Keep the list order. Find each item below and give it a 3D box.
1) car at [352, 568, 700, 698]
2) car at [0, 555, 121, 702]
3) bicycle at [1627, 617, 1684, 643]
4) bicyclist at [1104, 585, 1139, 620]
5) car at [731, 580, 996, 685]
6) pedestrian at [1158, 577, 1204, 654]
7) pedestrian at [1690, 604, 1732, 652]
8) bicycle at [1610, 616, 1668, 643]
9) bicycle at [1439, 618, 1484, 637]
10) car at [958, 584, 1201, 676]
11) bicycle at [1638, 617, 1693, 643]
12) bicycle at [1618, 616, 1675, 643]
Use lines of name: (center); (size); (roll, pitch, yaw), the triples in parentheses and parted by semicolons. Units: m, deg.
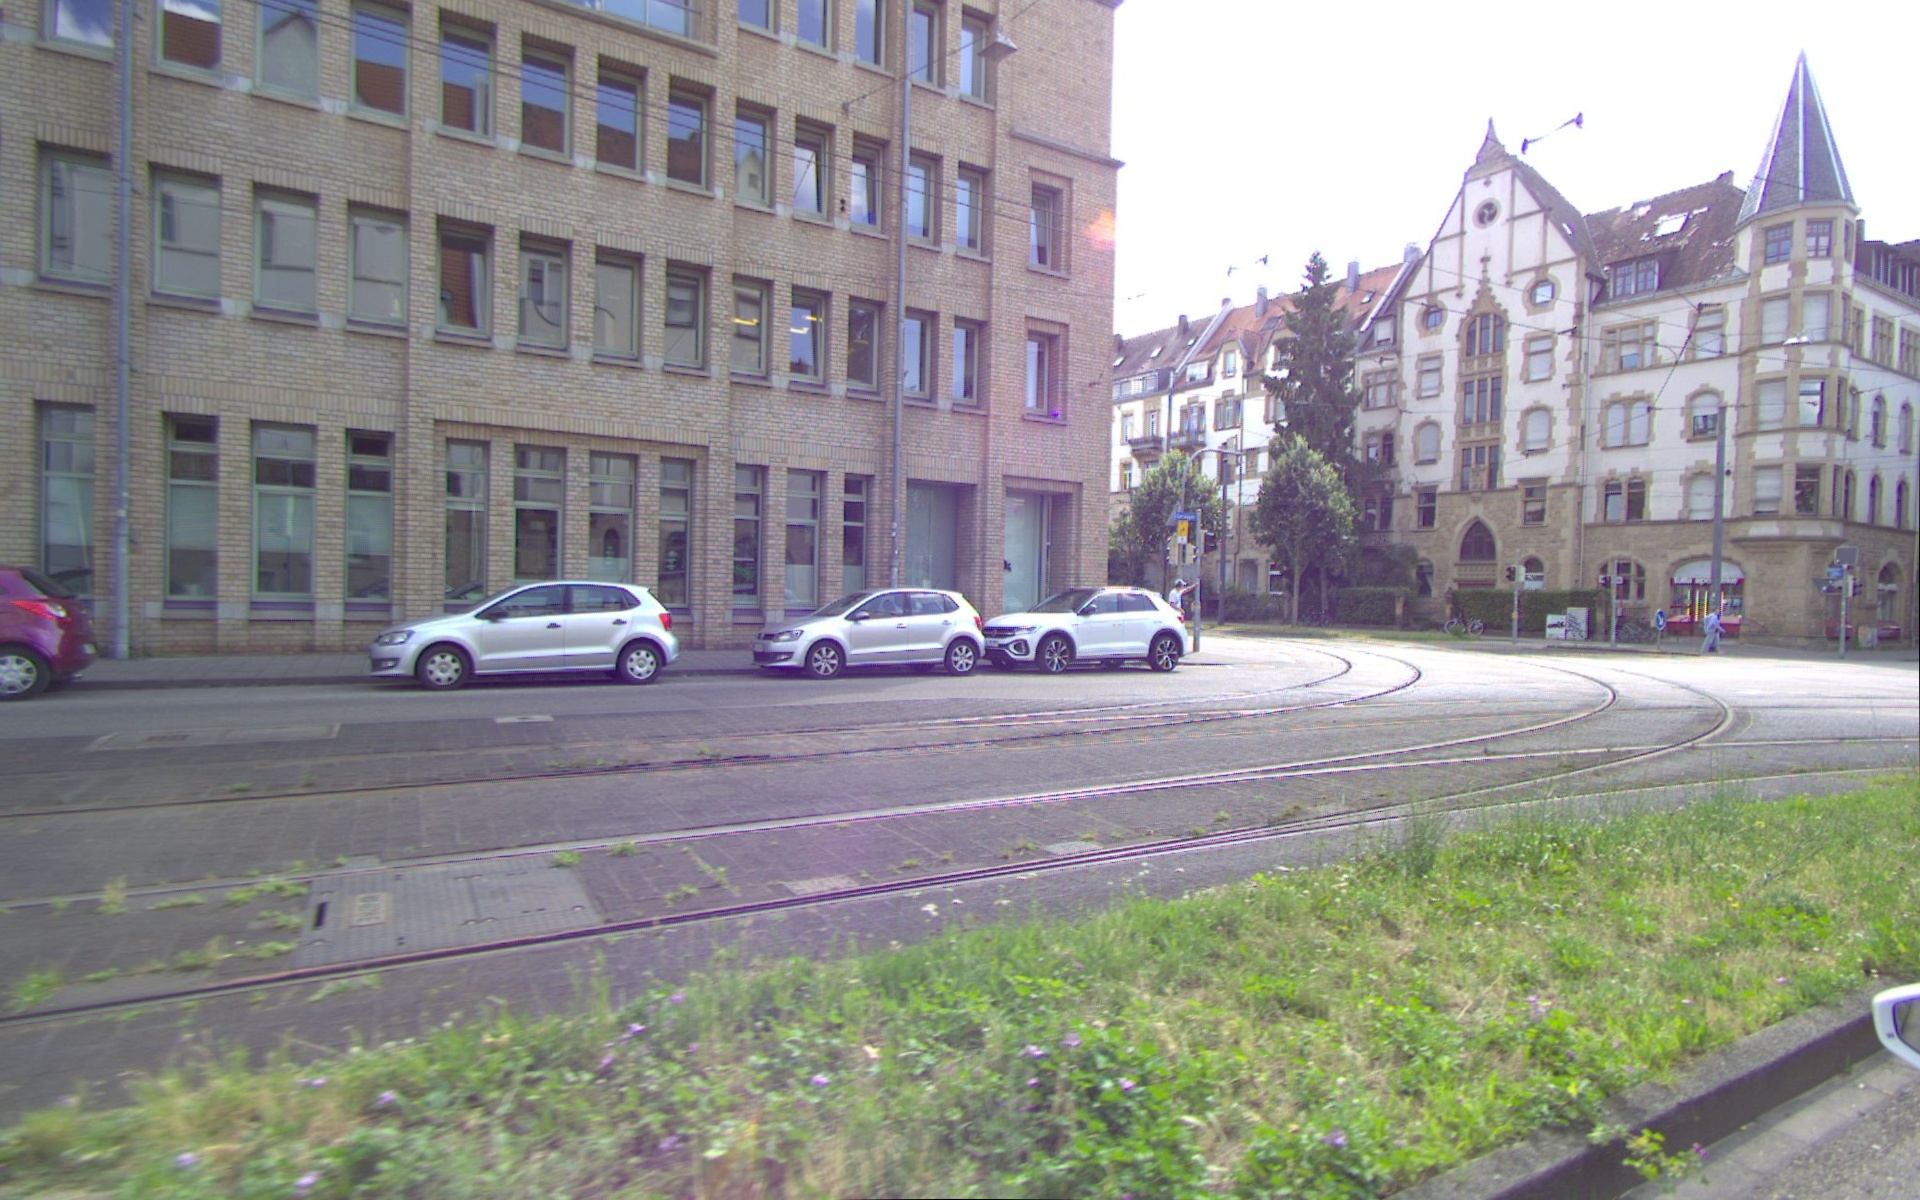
car: (-5.908, 0.419, 13.879); (4.159, 1.551, 1.843); (1, 0, -29)
car: (-11.434, 0.268, 10.738); (3.506, 1.551, 1.576); (1, 0, -29)
bicycle: (30.751, 1.311, 44.431); (0.772, 1.095, 1.900); (1, 0, -40)
bicyclist: (5.531, 0.087, 34.464); (0.769, 1.162, 0.888); (1, 1, -39)
car: (-1.590, 0.503, 16.717); (3.965, 1.551, 1.924); (1, 0, -29)
pedestrian: (5.382, 0.377, 24.444); (0.750, 1.819, 0.957); (2, 1, 35)
pedestrian: (28.233, 1.056, 37.791); (1.003, 1.745, 0.776); (2, 1, 16)
bicycle: (28.939, 1.263, 42.841); (0.772, 1.095, 1.900); (1, 0, -40)
bicycle: (23.890, 1.302, 47.897); (0.467, 0.859, 1.900); (1, 0, -40)
car: (2.266, 0.536, 18.842); (4.206, 1.555, 1.924); (1, 0, -29)
bicycle: (31.726, 1.337, 45.203); (0.772, 1.095, 1.900); (1, 0, -40)
bicycle: (29.857, 1.288, 43.725); (0.772, 1.095, 1.900); (1, 0, -40)
